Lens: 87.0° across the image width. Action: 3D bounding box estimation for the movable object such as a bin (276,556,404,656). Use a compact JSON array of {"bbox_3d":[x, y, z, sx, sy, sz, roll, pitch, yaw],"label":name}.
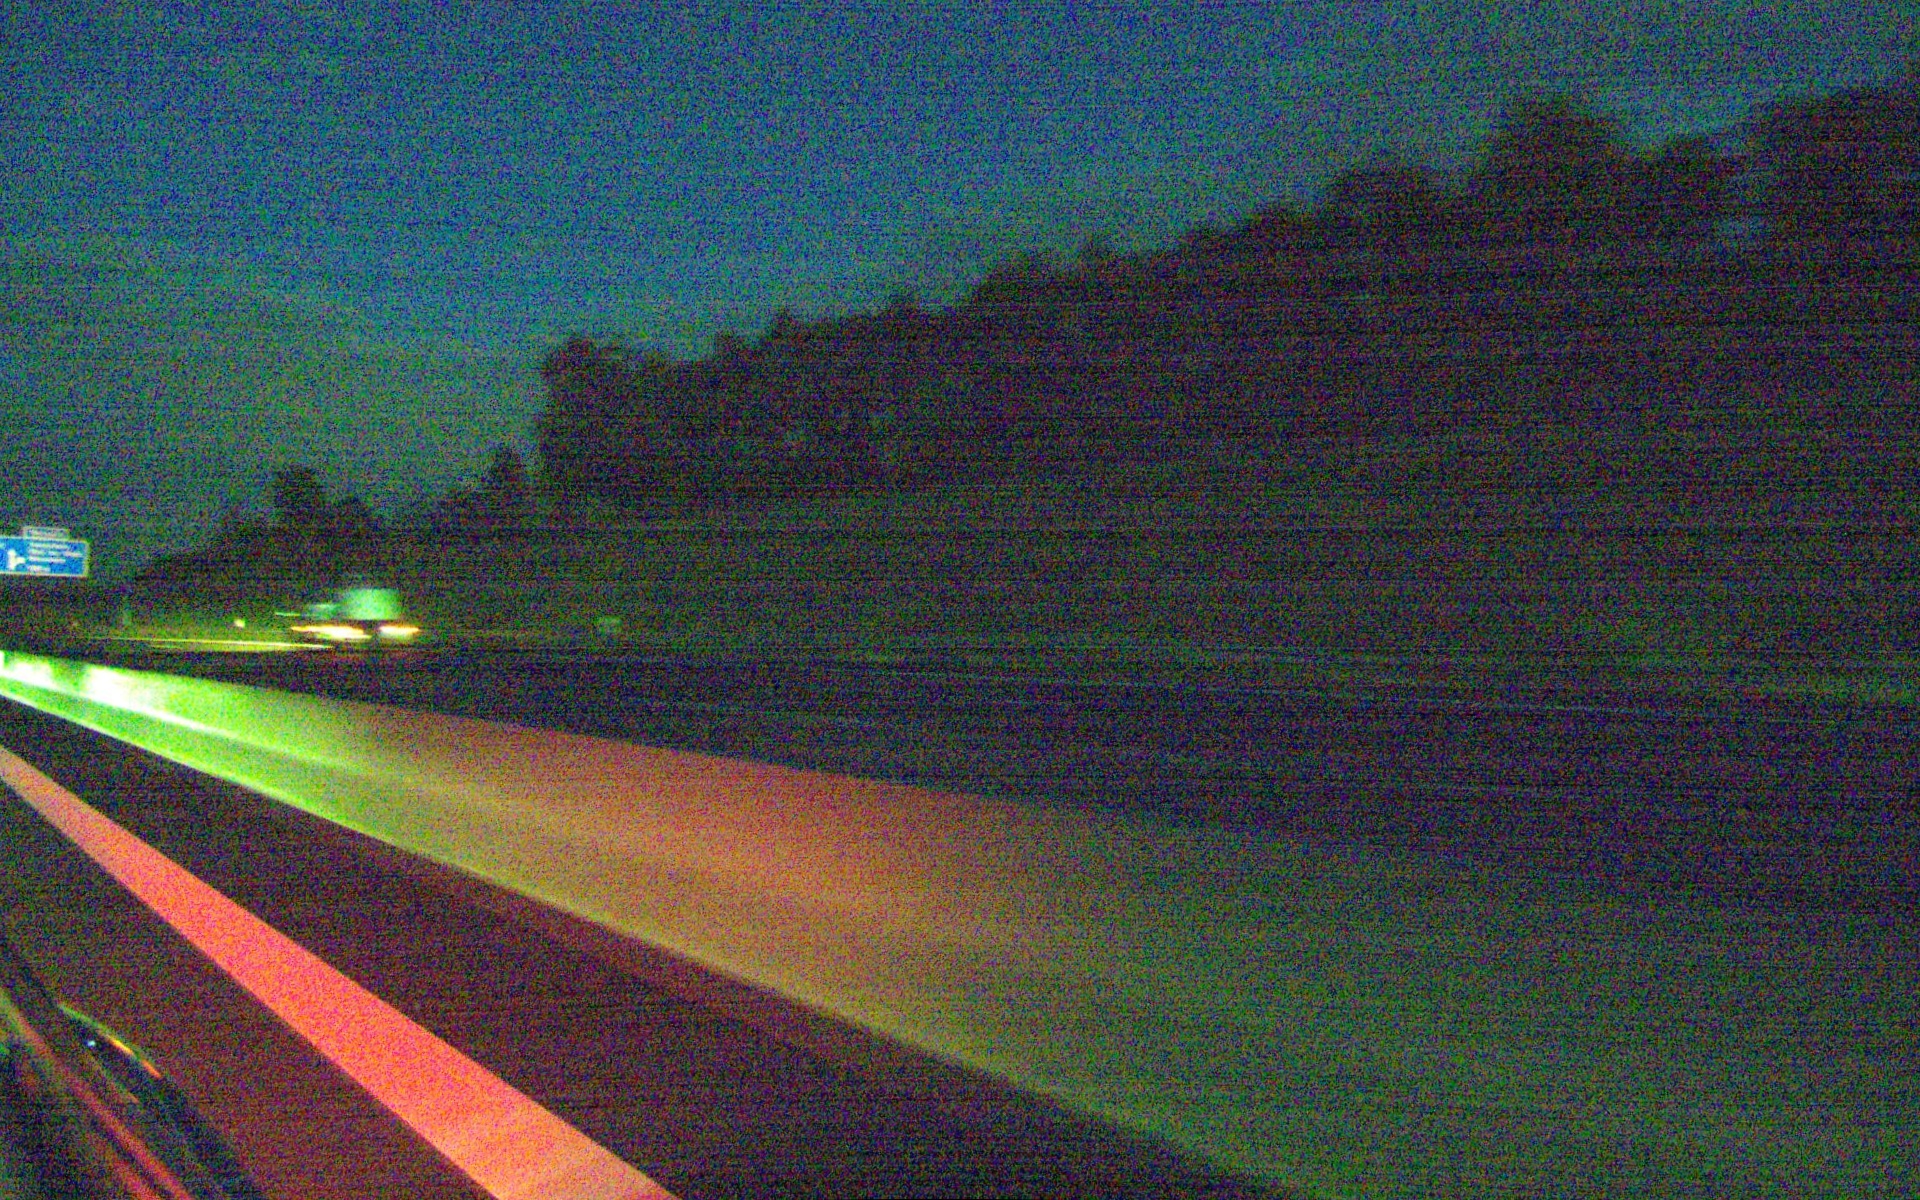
[{"bbox_3d":[-25.543,0.295,41.537,7.681,3.798,2.269,-1,-1,41],"label":"movable object such as a bin"}]
